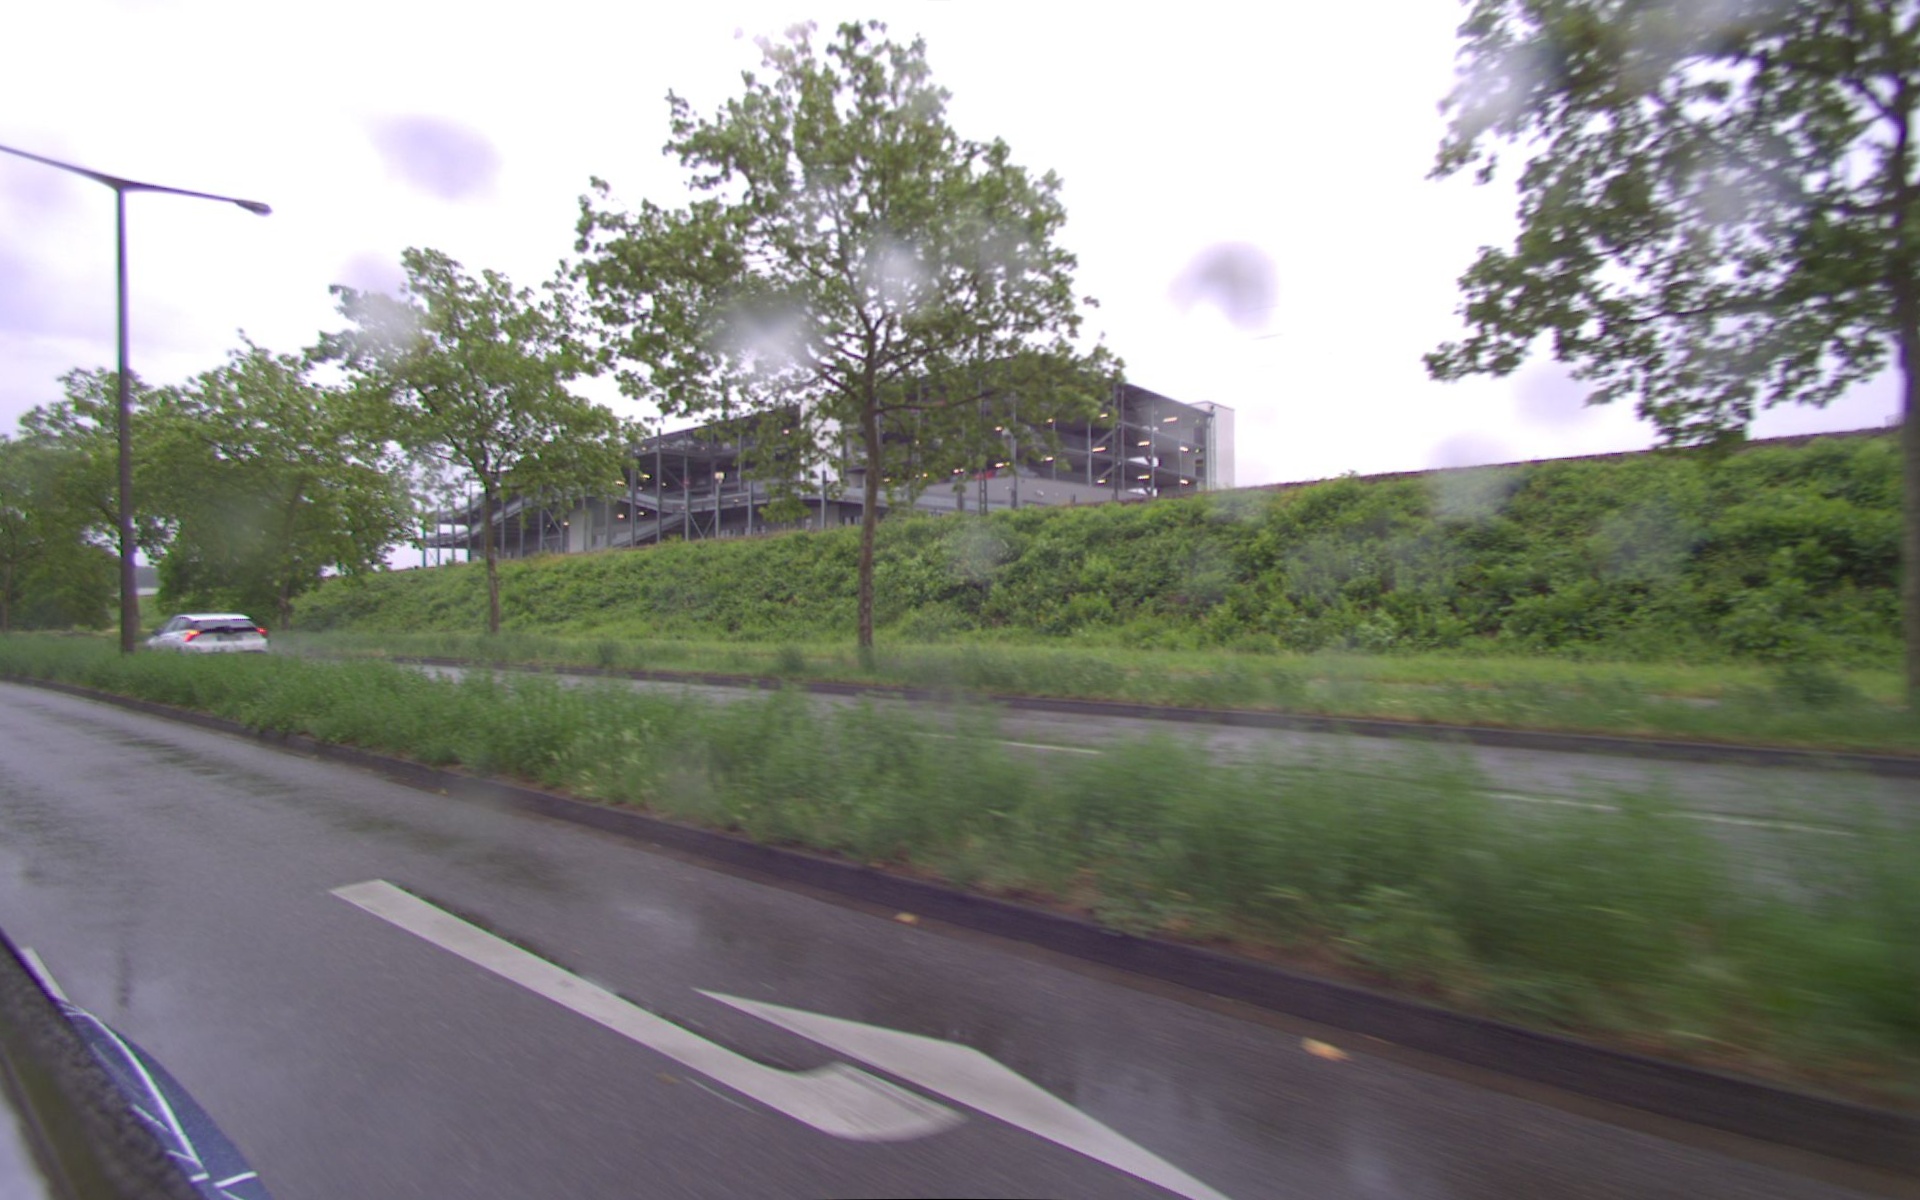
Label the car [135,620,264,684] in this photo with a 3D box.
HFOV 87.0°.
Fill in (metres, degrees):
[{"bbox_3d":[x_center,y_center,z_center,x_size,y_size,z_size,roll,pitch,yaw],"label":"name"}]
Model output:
[{"bbox_3d":[-19.775,1.301,26.268,4.199,1.506,1.685,-1,0,39],"label":"car"}]
